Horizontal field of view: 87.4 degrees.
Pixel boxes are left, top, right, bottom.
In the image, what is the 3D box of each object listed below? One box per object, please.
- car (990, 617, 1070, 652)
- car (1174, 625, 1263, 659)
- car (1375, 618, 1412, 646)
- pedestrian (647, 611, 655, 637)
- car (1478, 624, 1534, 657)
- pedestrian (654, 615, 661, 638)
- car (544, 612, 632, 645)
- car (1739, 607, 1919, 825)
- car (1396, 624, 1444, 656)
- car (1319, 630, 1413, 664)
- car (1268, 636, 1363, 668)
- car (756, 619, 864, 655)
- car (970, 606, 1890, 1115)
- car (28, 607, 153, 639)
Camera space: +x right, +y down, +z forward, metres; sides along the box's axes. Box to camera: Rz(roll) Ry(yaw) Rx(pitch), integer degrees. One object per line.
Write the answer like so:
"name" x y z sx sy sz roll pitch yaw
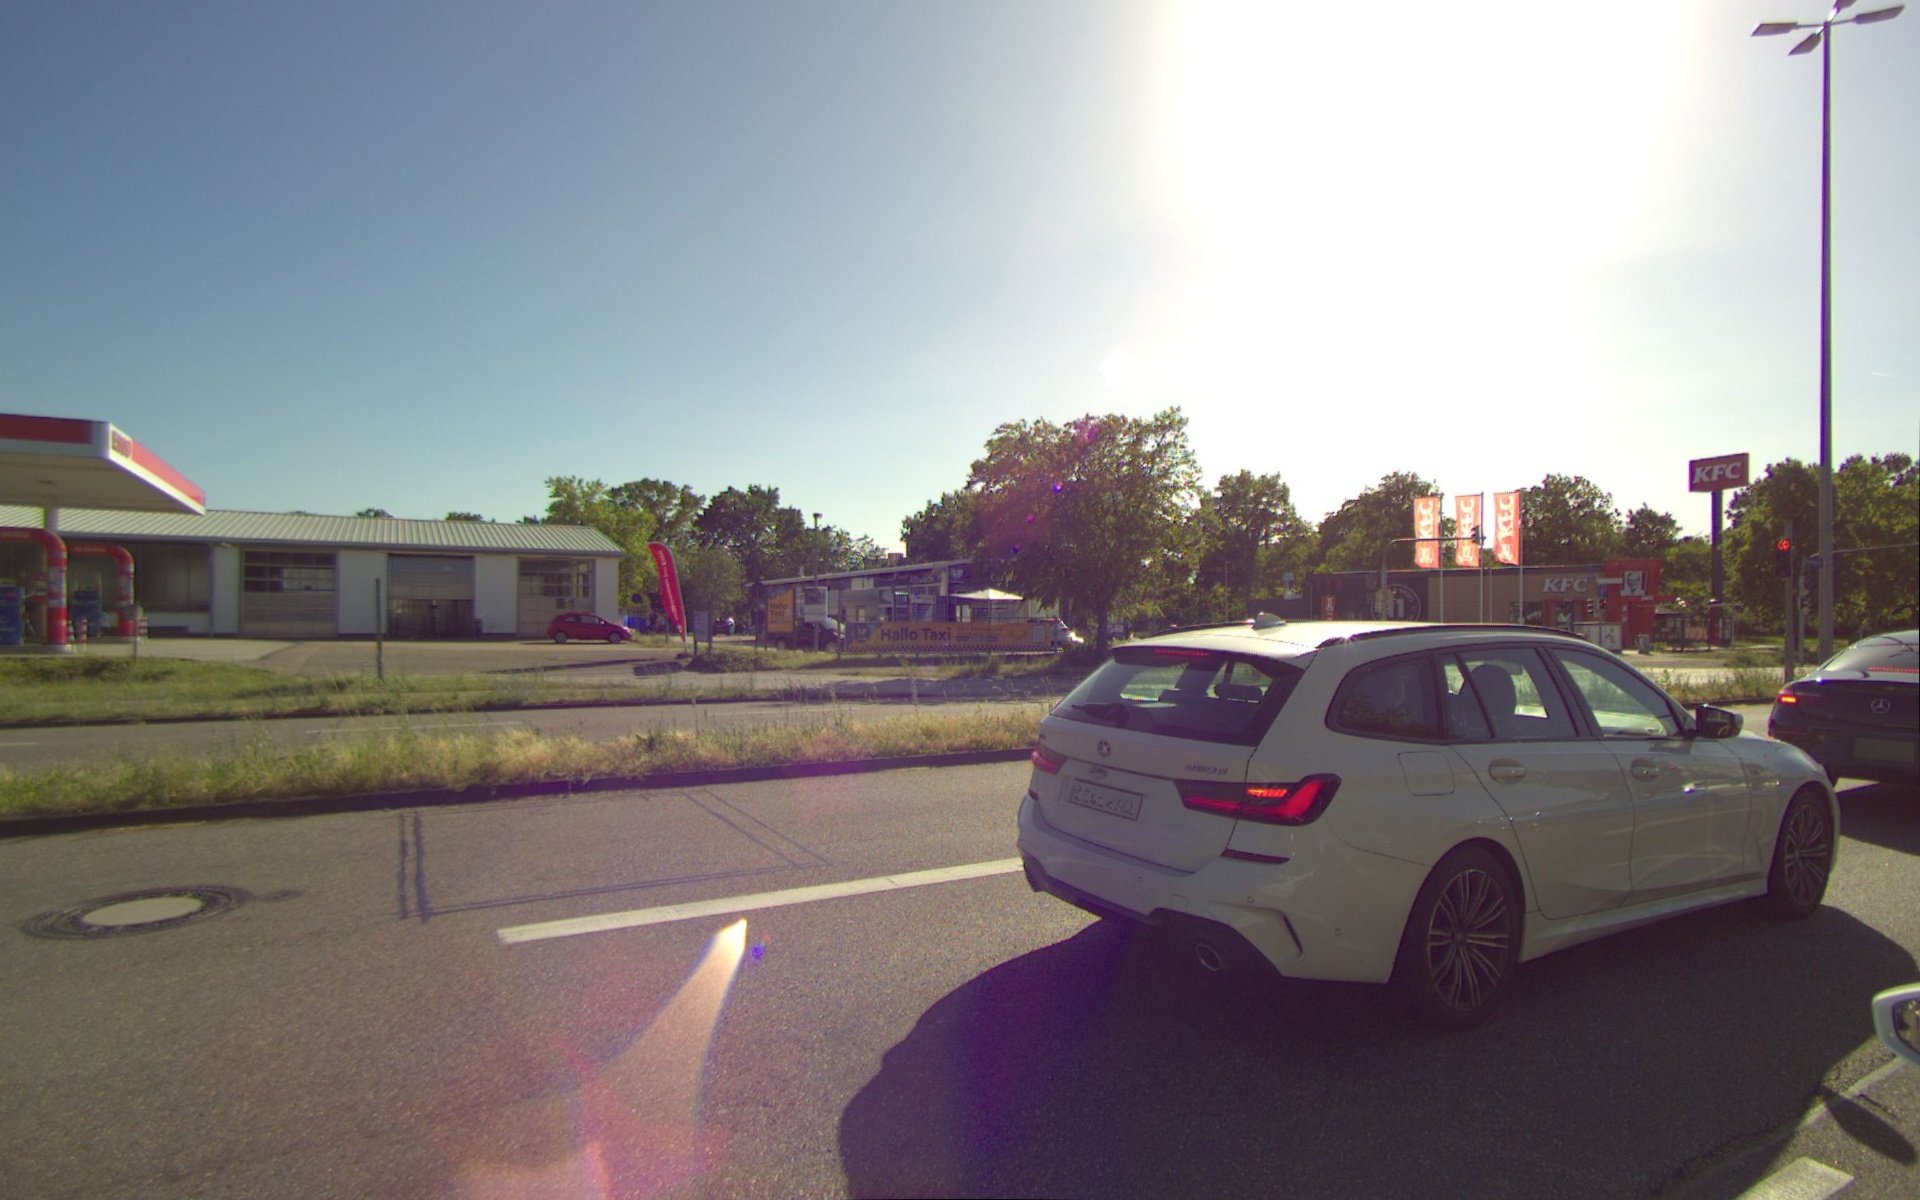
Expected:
"car" 3.201 1.569 46.661 1.973 1.461 3.974 2 0 -26
"car" 13.943 2.231 54.435 1.914 1.600 4.599 2 0 -31
"car" 31.512 2.302 73.147 1.960 1.837 3.774 2 0 16
"pedestrian" -18.099 1.425 58.852 0.298 1.531 0.318 0 0 22
"car" 32.683 2.380 60.225 1.896 1.763 4.099 2 0 14
"pedestrian" -17.683 1.527 58.727 0.299 1.337 0.311 0 0 17
"car" -18.286 1.404 49.330 3.949 1.491 1.521 2 0 -24
"car" 8.791 0.891 8.645 4.491 1.572 1.803 1 0 -31
"car" 28.043 2.404 61.376 1.896 1.763 4.099 2 0 14
"car" 20.102 2.328 49.868 1.914 1.472 3.934 2 0 -30
"car" 17.009 2.478 48.217 1.850 1.268 4.062 2 0 -31
"car" -5.844 1.415 38.996 3.930 1.193 1.774 2 0 31
"car" 2.456 0.820 4.913 4.541 1.506 1.804 1 0 -30
"car" -36.362 0.967 42.124 3.688 1.203 1.667 2 0 -30
